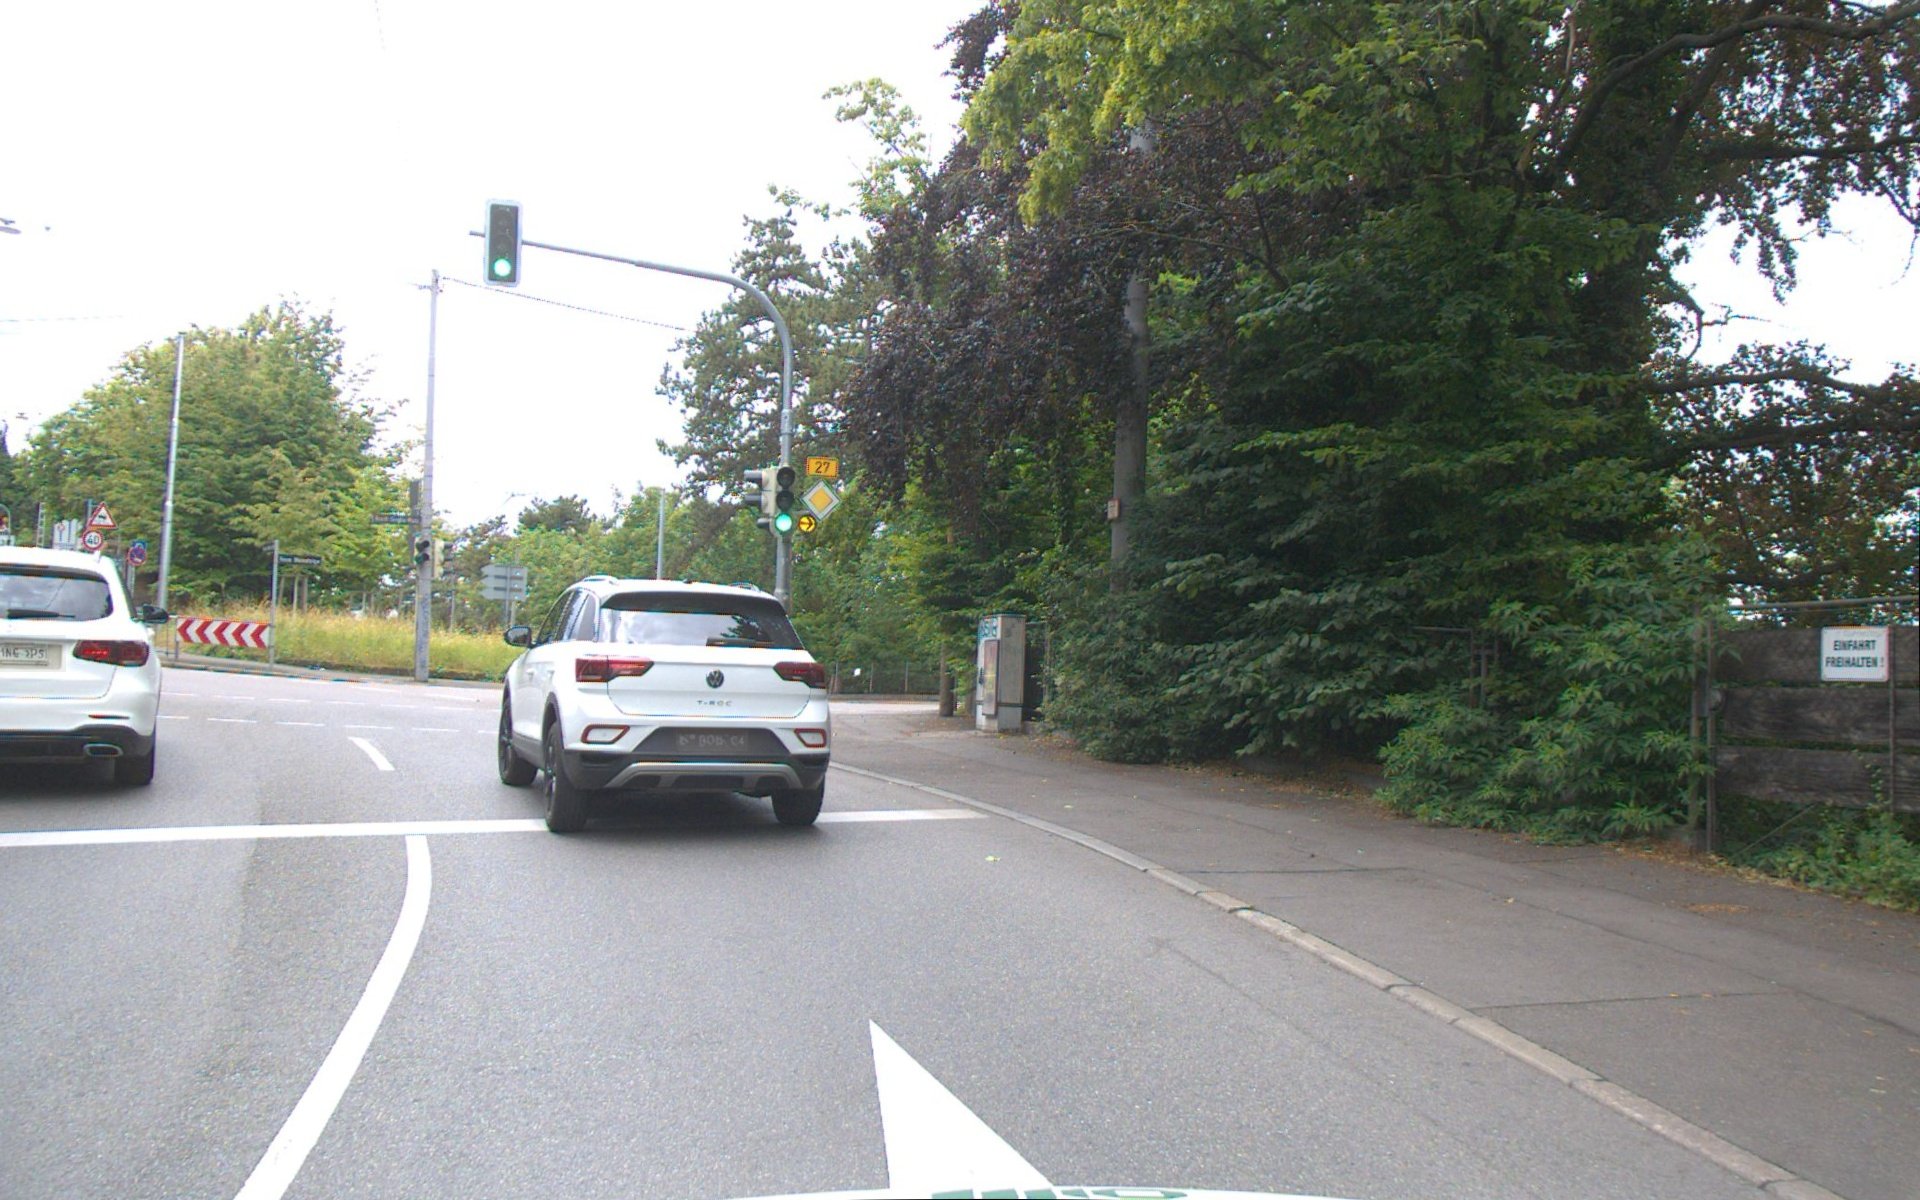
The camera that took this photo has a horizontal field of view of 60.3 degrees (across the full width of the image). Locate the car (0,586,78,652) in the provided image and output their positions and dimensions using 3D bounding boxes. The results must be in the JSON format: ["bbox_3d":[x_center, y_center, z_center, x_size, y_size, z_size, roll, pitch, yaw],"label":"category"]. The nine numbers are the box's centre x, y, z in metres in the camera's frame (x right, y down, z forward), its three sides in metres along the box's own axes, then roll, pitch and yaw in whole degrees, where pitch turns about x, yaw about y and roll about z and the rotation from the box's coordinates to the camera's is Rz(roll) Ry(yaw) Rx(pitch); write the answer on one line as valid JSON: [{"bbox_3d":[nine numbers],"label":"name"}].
[{"bbox_3d":[-22.482,0.448,40.093,1.613,1.444,3.812,4,-2,-32],"label":"car"}]

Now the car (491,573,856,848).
[{"bbox_3d":[-2.232,0.629,11.820,1.729,1.580,4.310,2,0,-21],"label":"car"}]

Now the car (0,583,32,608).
[{"bbox_3d":[-60.135,-0.283,105.223,1.631,1.476,3.507,4,-2,-32],"label":"car"}]

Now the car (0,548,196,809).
[{"bbox_3d":[-6.965,0.442,12.653,1.833,1.633,4.639,1,1,-23],"label":"car"}]

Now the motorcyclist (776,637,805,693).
[{"bbox_3d":[-4.456,1.707,43.496,0.586,1.455,0.757,0,-2,8],"label":"motorcyclist"}]

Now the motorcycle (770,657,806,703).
[{"bbox_3d":[-4.518,2.098,43.484,0.586,1.173,1.582,0,-2,8],"label":"motorcycle"}]
